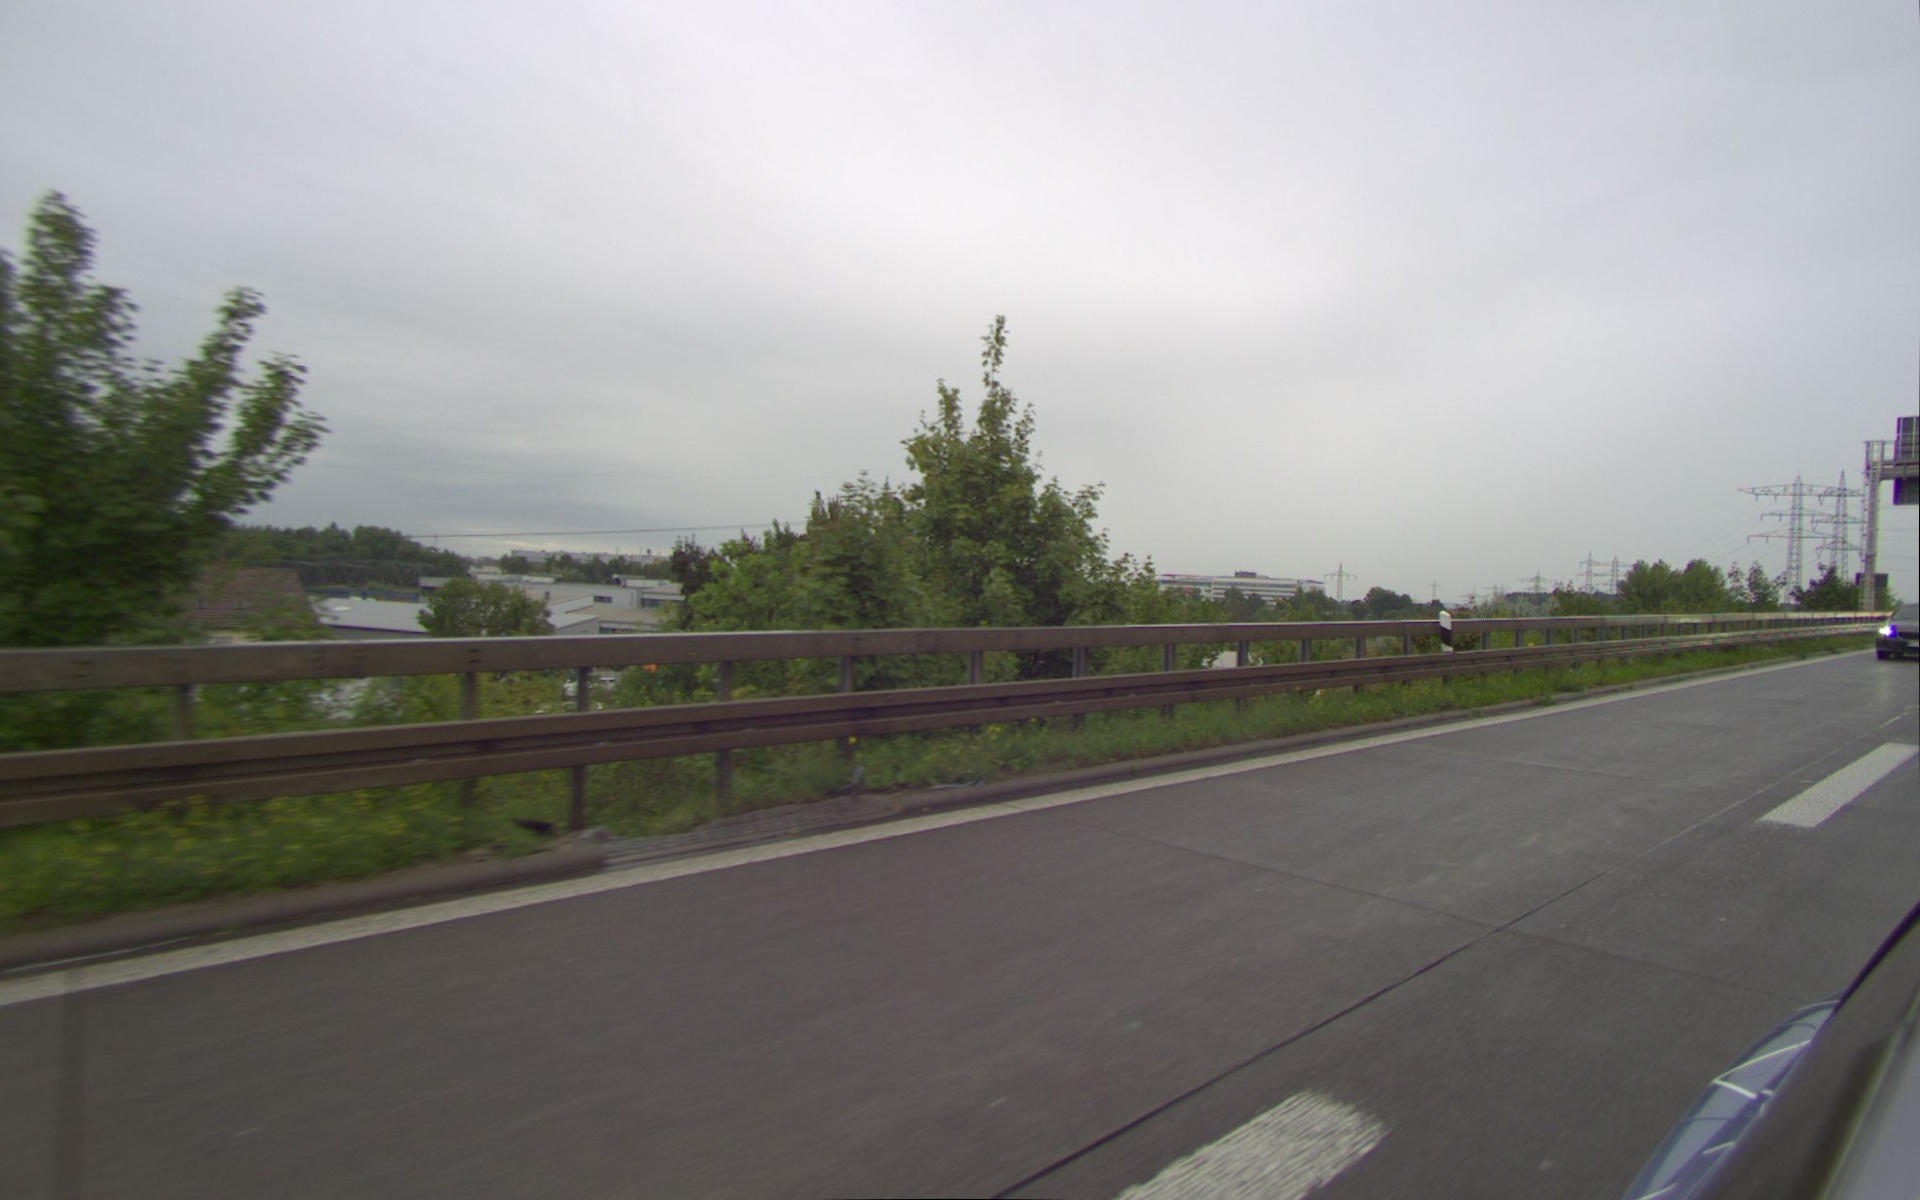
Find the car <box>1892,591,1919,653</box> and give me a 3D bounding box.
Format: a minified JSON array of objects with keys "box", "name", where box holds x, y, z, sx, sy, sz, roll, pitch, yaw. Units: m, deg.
[{"box":[26.183,0.596,26.802,4.131,1.560,1.860,1,-1,-42],"name":"car"}]
